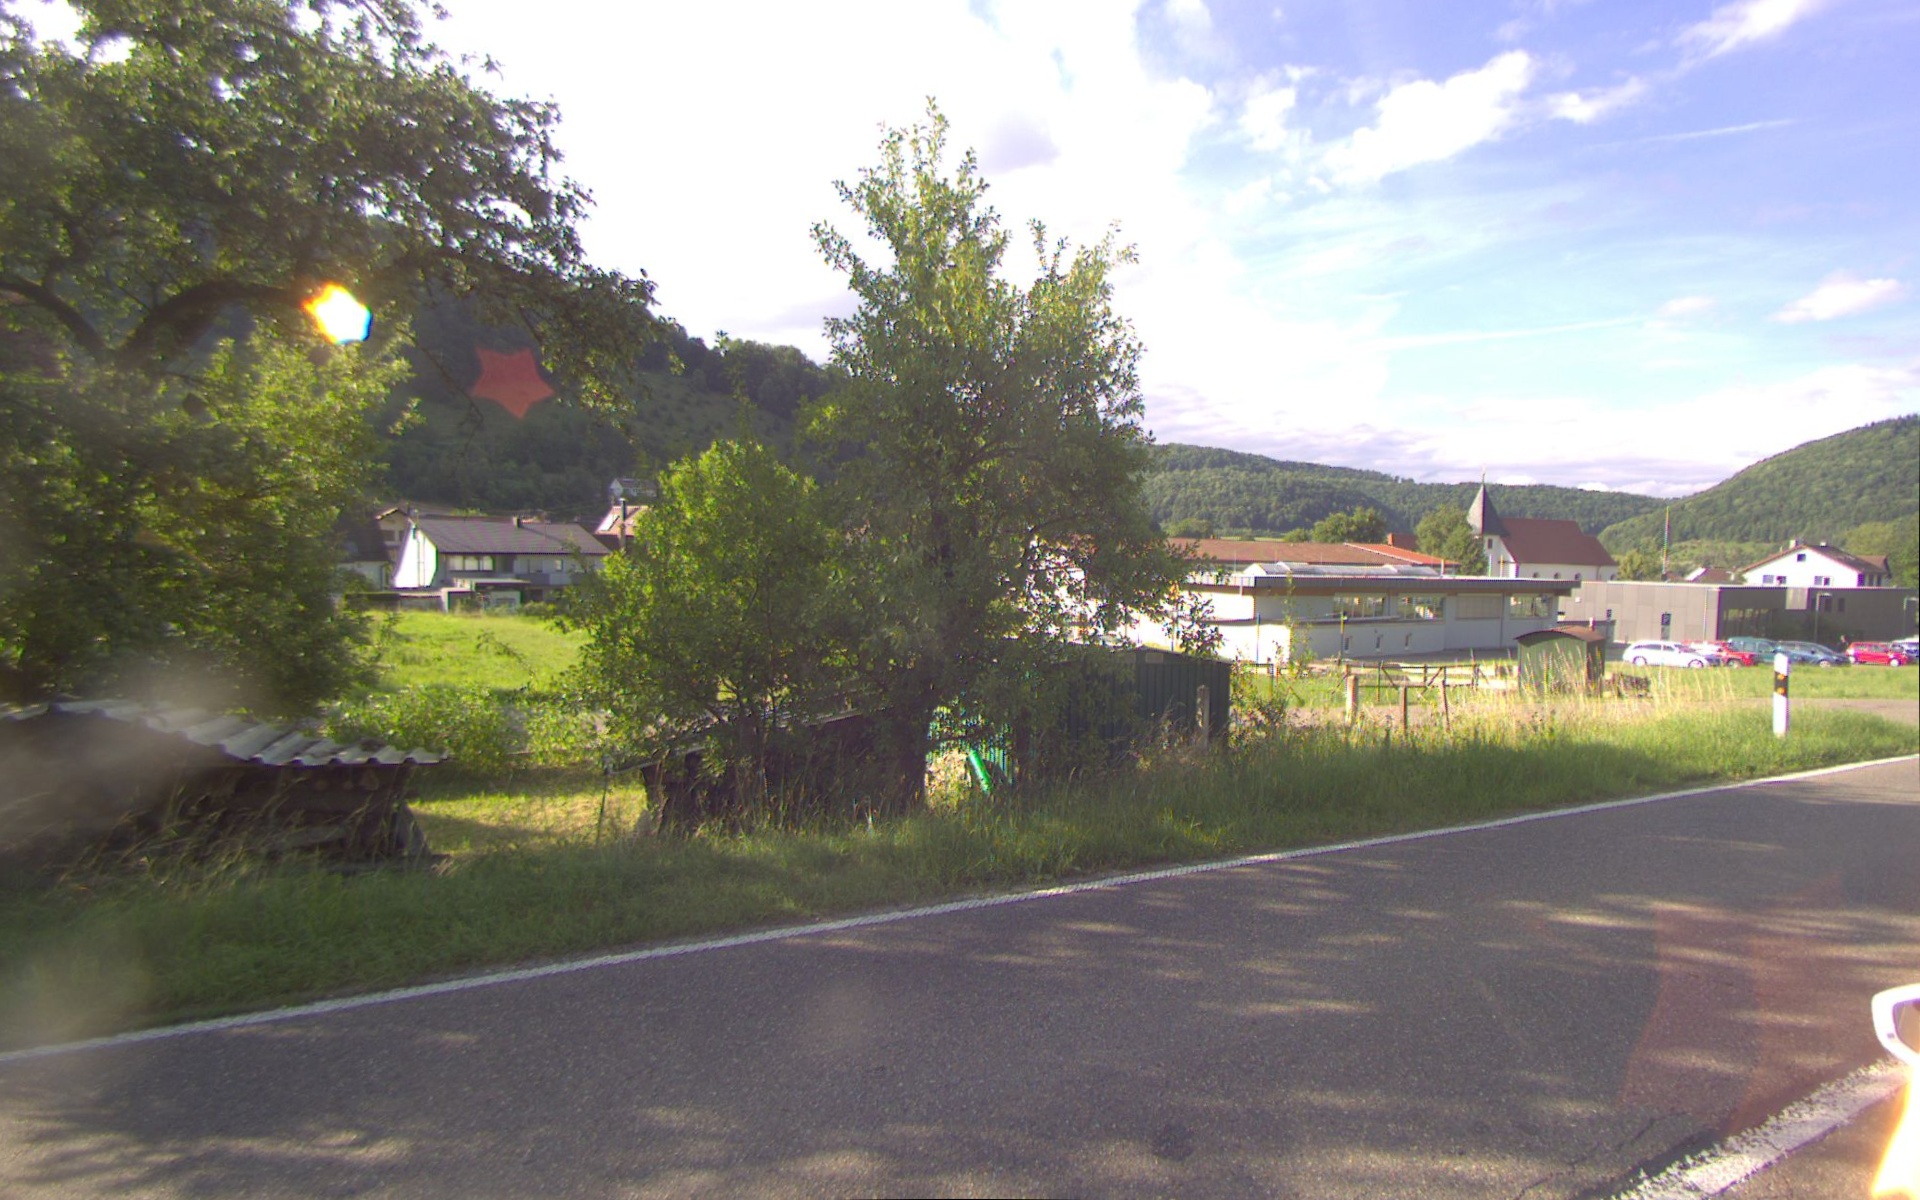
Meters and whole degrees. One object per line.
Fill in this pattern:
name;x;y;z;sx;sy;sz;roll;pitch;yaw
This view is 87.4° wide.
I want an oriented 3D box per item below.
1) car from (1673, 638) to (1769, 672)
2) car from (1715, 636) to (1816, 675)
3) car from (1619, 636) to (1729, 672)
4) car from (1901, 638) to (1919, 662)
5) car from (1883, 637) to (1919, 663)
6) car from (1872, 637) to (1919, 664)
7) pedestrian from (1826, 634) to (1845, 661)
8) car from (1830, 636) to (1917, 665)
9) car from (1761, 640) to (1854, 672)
car;43.849;3.158;57.966;1.978;1.733;3.964;2;0;-32
car;48.729;3.328;60.829;1.978;2.034;4.381;2;0;-32
car;40.684;3.054;57.357;1.978;1.733;4.704;2;0;-32
car;71.625;3.718;73.279;1.978;1.733;3.964;2;0;-32
car;68.803;3.620;71.677;1.978;1.733;3.964;2;0;-32
car;65.952;3.518;69.383;1.978;1.733;3.964;2;0;-32
pedestrian;68.705;3.714;78.793;0.962;2.040;0.821;2;0;-31
car;61.648;3.373;67.811;1.978;1.733;3.964;2;0;-32
car;52.553;3.457;62.337;1.978;1.733;3.964;2;0;-32
